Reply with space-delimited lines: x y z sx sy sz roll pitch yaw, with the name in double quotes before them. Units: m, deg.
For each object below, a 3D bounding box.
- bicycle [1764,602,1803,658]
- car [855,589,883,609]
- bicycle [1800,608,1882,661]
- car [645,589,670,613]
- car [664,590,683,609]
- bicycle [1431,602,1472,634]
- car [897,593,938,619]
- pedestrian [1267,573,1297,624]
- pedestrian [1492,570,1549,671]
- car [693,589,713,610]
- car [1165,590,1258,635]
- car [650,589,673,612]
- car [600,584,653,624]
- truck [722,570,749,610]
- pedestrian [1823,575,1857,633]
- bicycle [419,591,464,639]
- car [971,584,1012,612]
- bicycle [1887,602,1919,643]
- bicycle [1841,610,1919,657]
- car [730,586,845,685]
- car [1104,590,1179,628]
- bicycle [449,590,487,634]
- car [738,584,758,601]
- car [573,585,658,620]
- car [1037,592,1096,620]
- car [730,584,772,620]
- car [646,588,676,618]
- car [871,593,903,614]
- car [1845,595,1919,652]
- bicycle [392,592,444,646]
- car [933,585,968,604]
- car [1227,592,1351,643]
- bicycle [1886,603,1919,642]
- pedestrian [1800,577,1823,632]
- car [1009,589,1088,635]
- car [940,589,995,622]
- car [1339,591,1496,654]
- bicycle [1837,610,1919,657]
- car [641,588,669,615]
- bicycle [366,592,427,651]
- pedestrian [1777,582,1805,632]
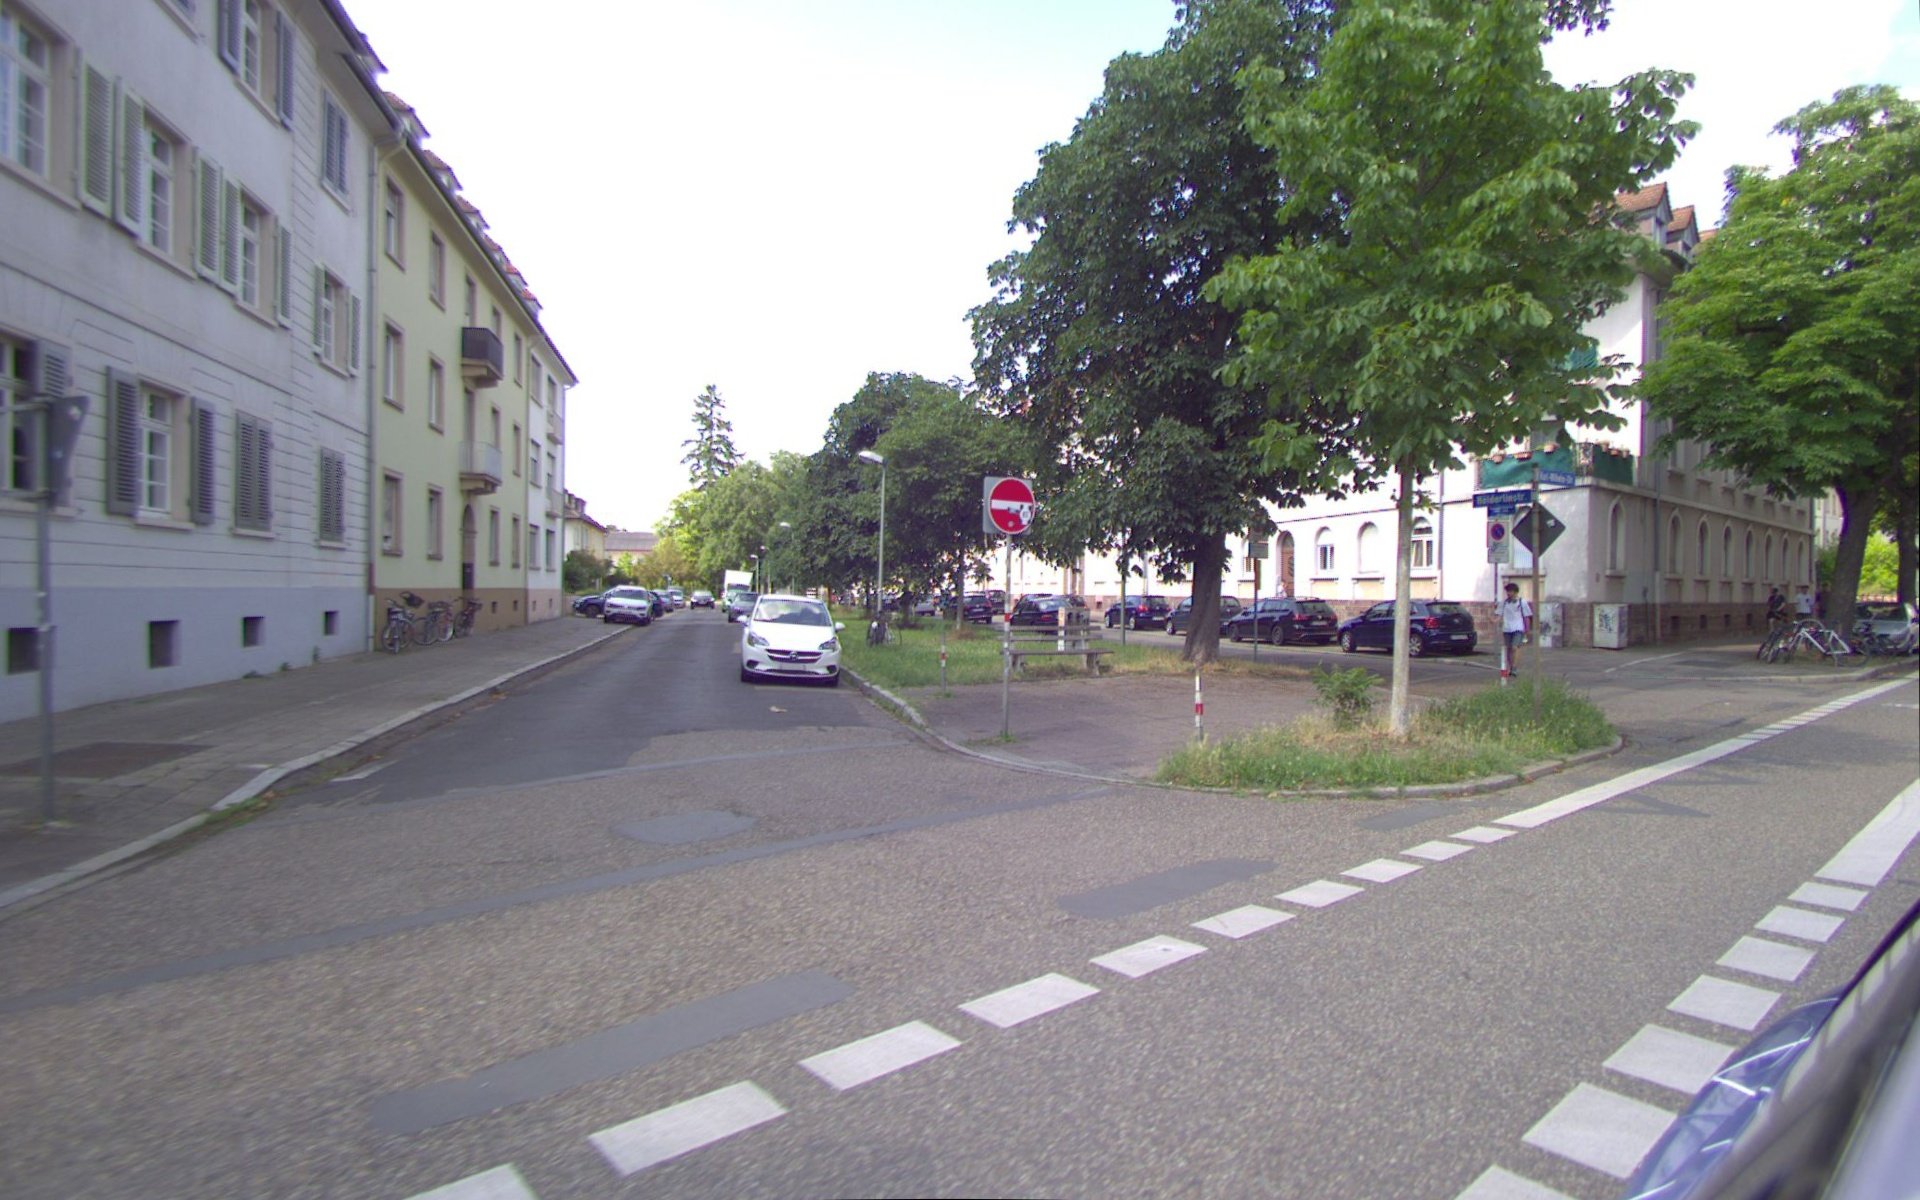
"bicycle" 18.243 0.644 22.406 0.584 1.173 1.809 0 0 42
"car" -7.298 -0.106 81.063 1.613 1.515 4.008 -1 0 -15
"bicycle" 18.861 0.720 21.676 0.470 1.079 1.270 0 0 -41
"car" -19.943 0.040 66.720 1.357 1.517 3.340 3 0 -14
"car" -23.652 -0.058 83.618 1.357 1.517 3.340 3 0 -14
"bicycle" 13.897 0.504 28.641 0.339 0.854 1.209 0 0 -13
"car" -2.643 0.326 61.761 1.613 1.515 4.008 -1 0 -16
"pedestrian" 11.846 -0.054 37.267 0.810 1.857 0.732 0 0 -10
"pedestrian" 10.678 0.374 19.279 1.012 1.857 0.619 0 0 -38
"car" -19.376 -0.058 76.312 1.357 1.517 3.627 3 0 -14
"car" 9.107 0.404 36.955 1.695 1.530 3.940 0 1 -13
"car" -21.031 0.009 71.304 1.357 1.517 3.340 3 0 -14
"car" -14.626 0.133 44.564 1.858 1.598 4.075 3 0 -14
"truck" -17.731 -0.819 79.881 1.821 2.989 4.267 3 0 -14
"pedestrian" 29.908 0.128 34.392 0.870 1.913 0.755 0 0 -41
"bicycle" -13.607 0.367 26.613 0.668 1.162 2.521 3 0 -20
"car" 2.005 -0.153 65.247 1.695 1.757 3.940 0 1 -13
"bicycle" 29.205 0.681 30.711 0.508 1.236 1.493 -1 1 -33
"bicycle" 22.465 0.808 24.536 0.342 1.084 1.652 0 0 -36
"car" -3.161 0.554 18.021 1.694 1.517 3.627 3 0 -14
"car" 7.588 0.337 42.683 1.695 1.530 3.940 0 1 -13
"bicycle" -14.238 0.326 29.337 0.668 1.162 2.521 3 0 -20
"car" -20.372 -0.763 97.198 1.694 1.517 3.627 3 0 -14
"car" -16.961 0.103 49.905 3.835 1.517 1.902 3 0 -20
"car" 5.317 0.276 50.985 1.695 1.368 3.940 0 1 -13
"car" -9.635 0.050 46.588 1.694 1.517 3.627 3 0 -14
"car" -16.406 0.144 55.673 1.357 1.517 3.340 3 0 -14
"car" -5.296 0.230 73.322 1.613 1.515 4.008 -1 0 -15
"car" 25.801 0.589 27.909 3.830 1.463 1.588 0 1 -41
"bicycle" -12.854 0.417 24.057 0.668 1.162 2.521 3 0 -20
"car" -0.717 -0.406 74.704 1.695 1.368 3.940 0 1 -13
"car" 10.126 0.493 31.532 1.695 1.470 4.265 0 1 -13
"bicycle" 29.584 0.698 31.170 0.508 1.167 1.493 0 0 -33
"pedestrian" 29.351 0.164 34.874 0.675 1.876 0.505 0 0 -41
"car" 3.256 0.401 37.988 1.696 1.530 3.940 -3 1 -13
"car" 0.323 0.250 48.714 1.613 1.515 4.008 -1 0 -16
"car" 11.615 0.520 25.933 1.695 1.470 3.582 0 1 -17
"bicycle" 22.655 0.801 24.869 0.342 1.084 1.652 0 0 -36
"car" -18.427 0.091 61.185 1.357 1.517 3.340 3 0 -14
"bicycle" -12.007 0.427 21.628 0.668 1.162 2.521 3 0 -20
"pedestrian" 28.131 0.233 34.256 0.959 1.660 0.581 0 0 -41
